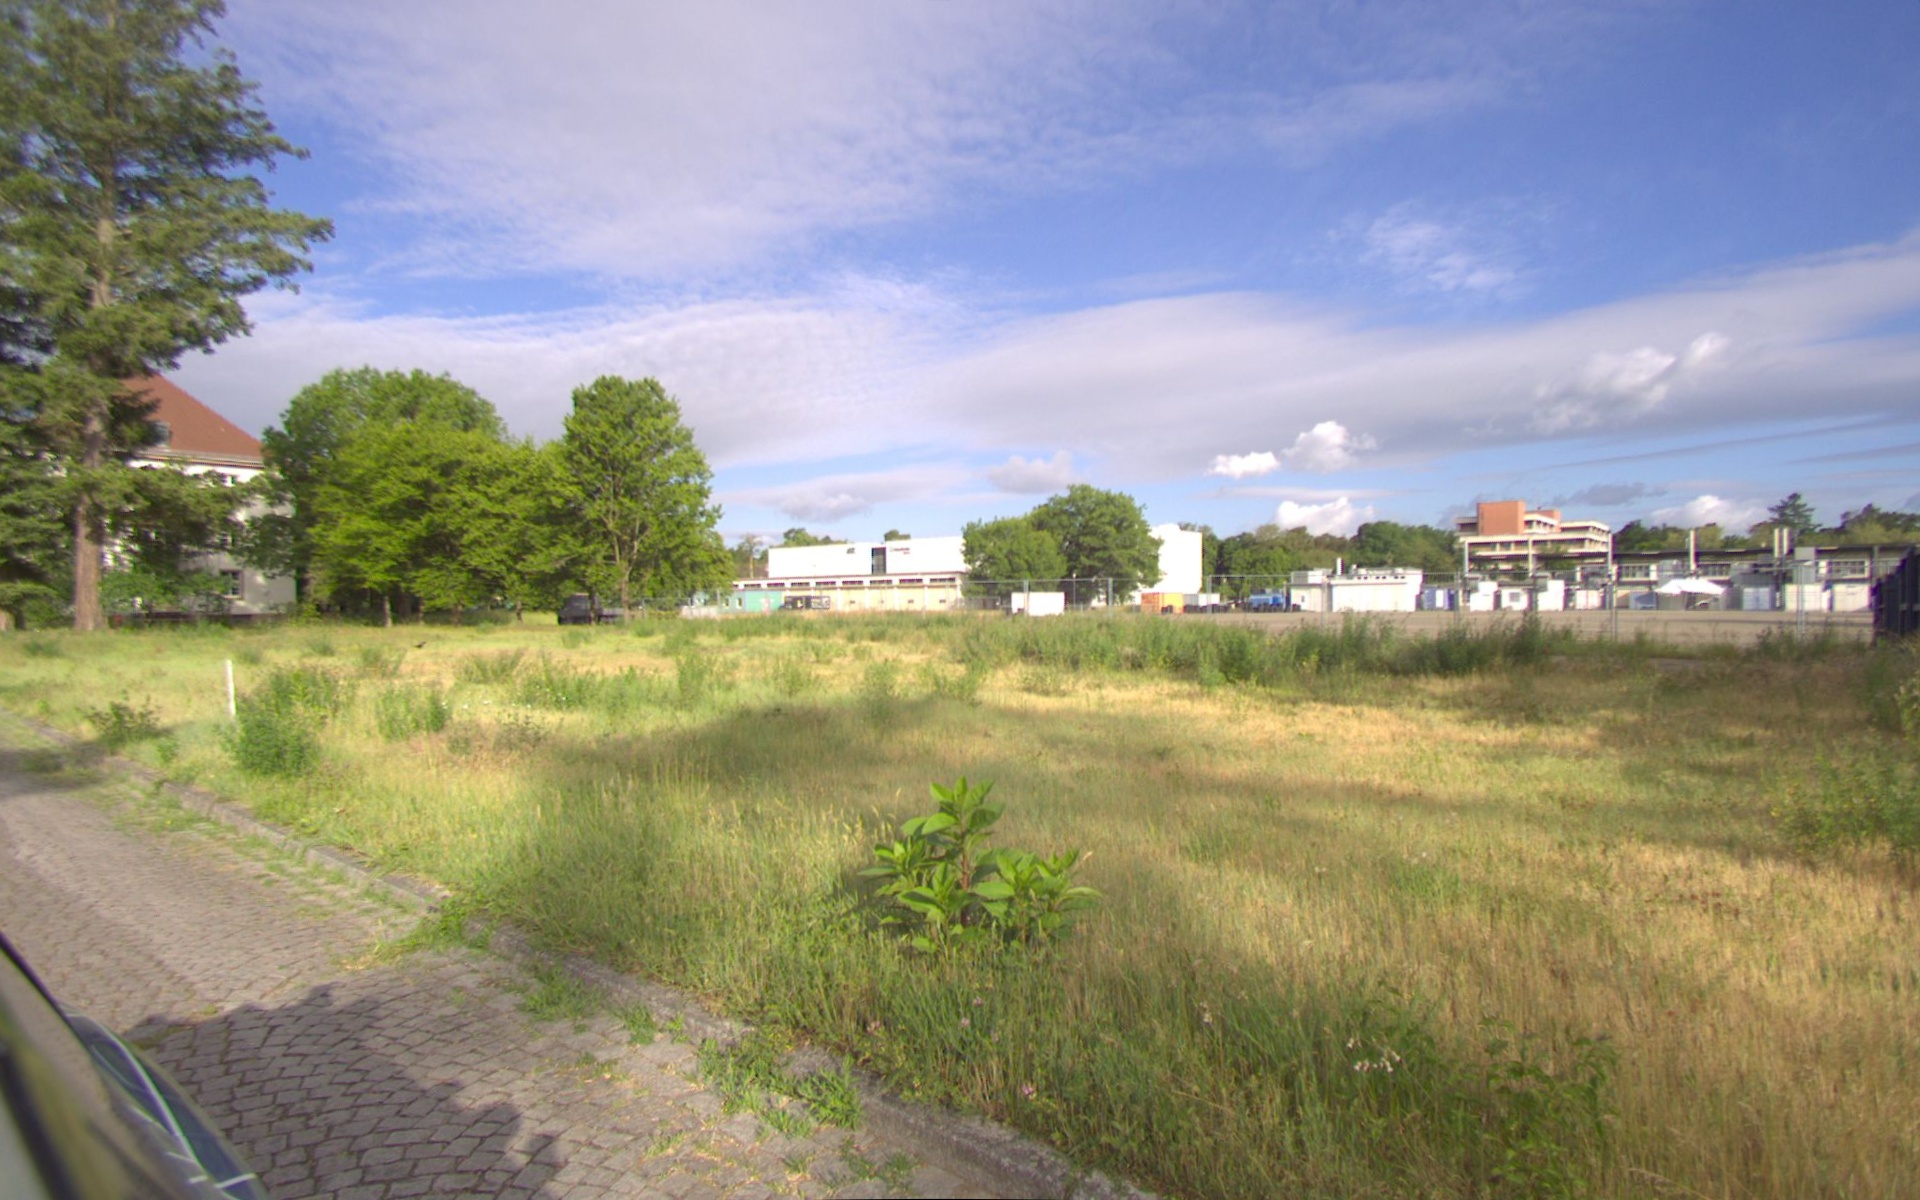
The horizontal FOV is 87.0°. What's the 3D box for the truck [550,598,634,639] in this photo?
[{"bbox_3d":[-24.726,1.229,67.791,6.958,2.606,2.385,-1,-1,43],"label":"truck"}]
